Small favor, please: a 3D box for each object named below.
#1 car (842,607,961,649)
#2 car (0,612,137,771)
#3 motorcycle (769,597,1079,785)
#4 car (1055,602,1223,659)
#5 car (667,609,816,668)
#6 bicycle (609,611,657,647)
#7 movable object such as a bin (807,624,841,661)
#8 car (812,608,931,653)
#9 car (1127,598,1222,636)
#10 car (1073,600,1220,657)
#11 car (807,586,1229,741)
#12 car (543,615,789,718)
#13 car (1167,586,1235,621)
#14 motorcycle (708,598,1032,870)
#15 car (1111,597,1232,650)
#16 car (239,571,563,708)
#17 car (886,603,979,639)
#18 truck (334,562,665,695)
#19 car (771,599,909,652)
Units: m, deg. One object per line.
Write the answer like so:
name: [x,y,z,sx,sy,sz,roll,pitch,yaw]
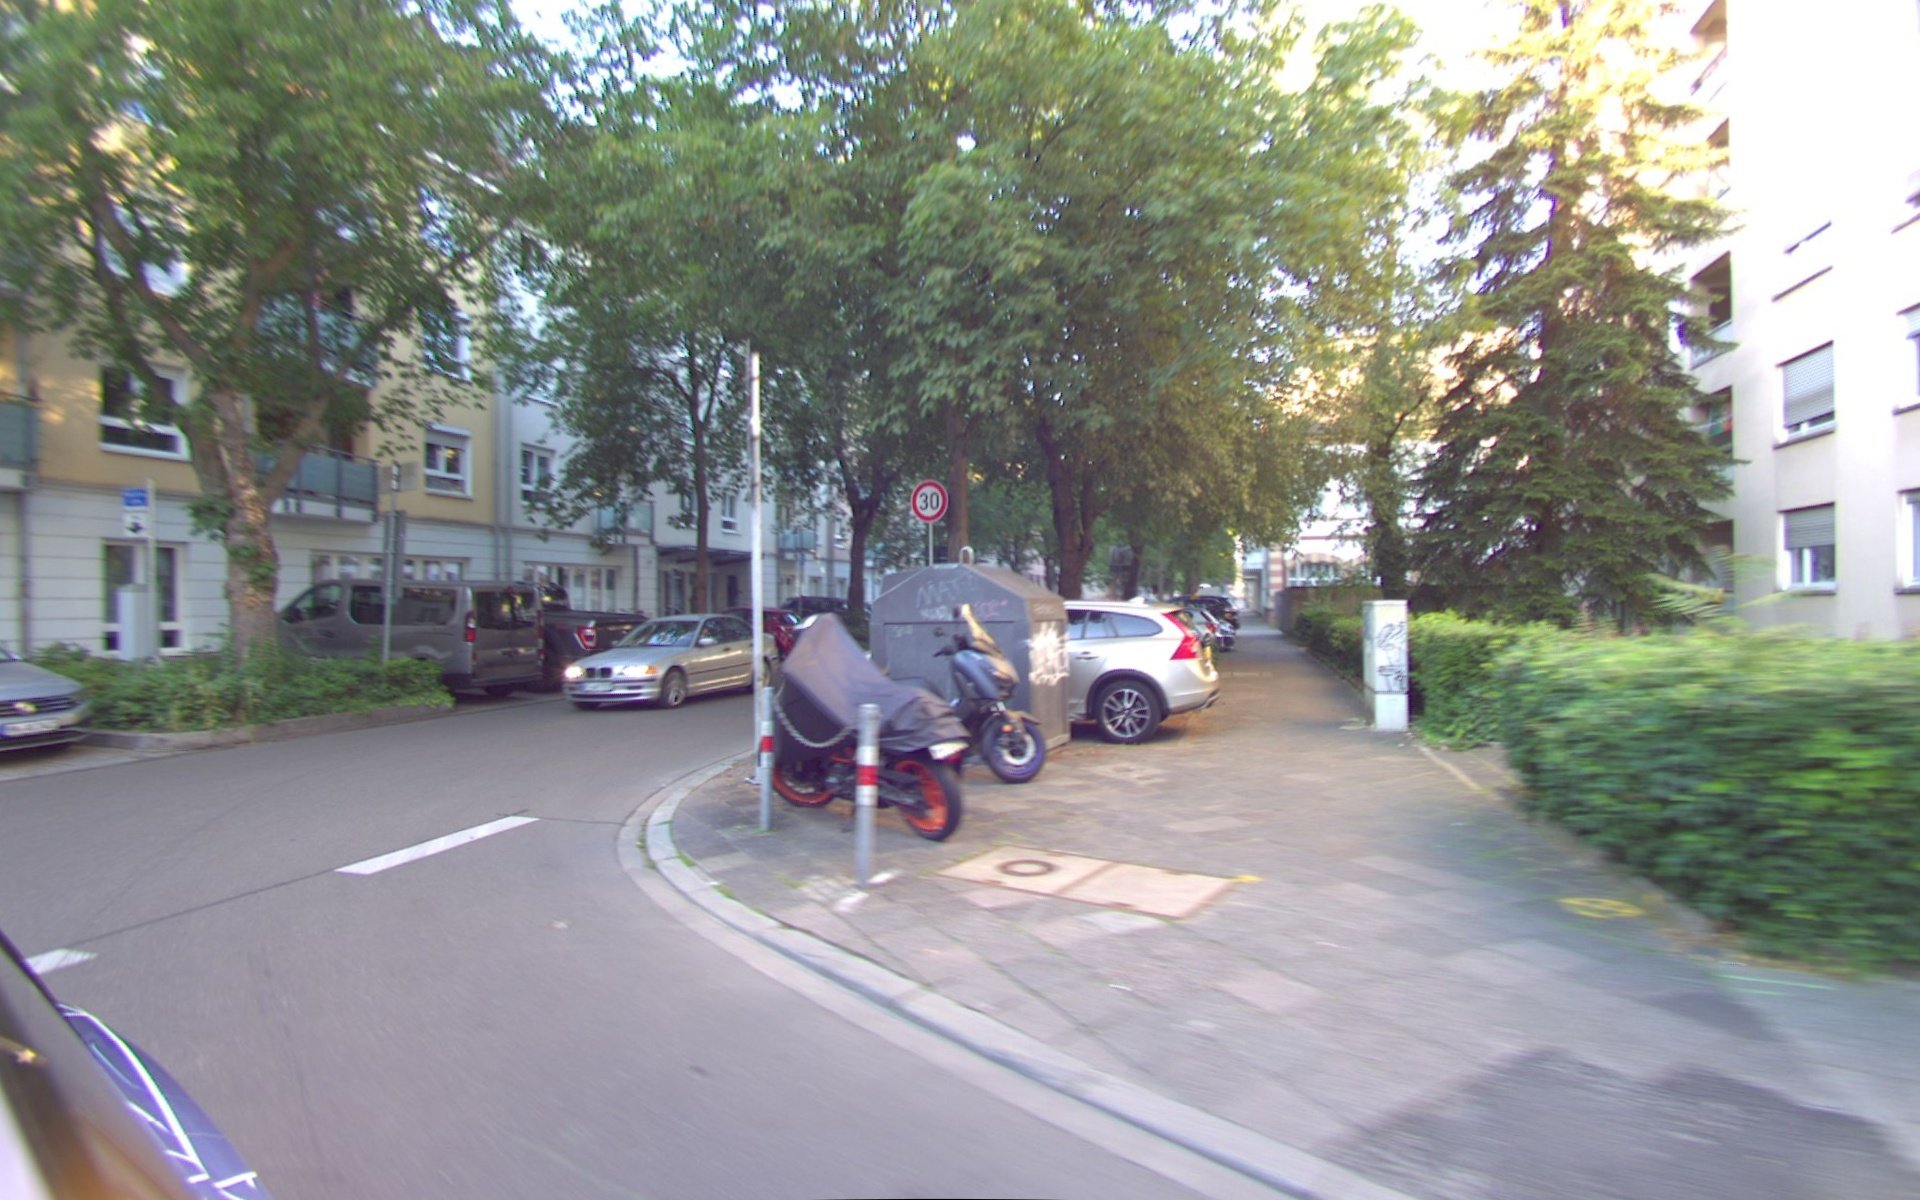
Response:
car: [-2.418,1.138,41.871,4.572,1.479,1.787,2,1,15]
car: [-11.486,0.901,10.745,4.593,1.514,1.952,0,0,15]
motorcycle: [-0.299,0.706,8.500,2.440,1.431,0.905,-1,0,18]
car: [4.816,0.809,27.036,4.263,1.440,1.870,-1,0,16]
car: [-6.219,1.087,28.939,3.753,1.556,1.869,-1,0,15]
bicycle: [-9.952,0.856,30.892,0.421,1.045,1.872,1,0,15]
movable object such as a bin: [-4.160,1.301,30.981,0.756,1.092,0.781,1,0,17]
car: [-3.449,1.143,39.540,4.203,1.449,1.918,3,1,18]
car: [10.548,0.836,49.796,4.477,1.785,1.991,-1,0,15]
car: [5.478,0.833,29.716,3.971,1.577,1.916,-1,0,21]
car: [0.733,0.682,11.914,4.596,1.564,2.063,-1,0,18]
car: [-4.538,0.970,16.370,1.724,1.381,4.307,-1,0,18]
car: [18.431,0.268,77.394,4.974,2.592,2.110,-1,-1,16]
motorcycle: [-0.660,0.716,6.455,0.839,1.431,2.256,-1,0,-43]
car: [8.225,0.906,39.439,4.477,1.970,1.991,-1,0,15]
car: [-9.341,0.620,17.040,4.572,2.082,2.187,0,0,15]
car: [-1.265,0.966,47.803,4.052,1.462,1.928,2,0,11]
truck: [-8.885,0.533,19.585,5.855,2.328,2.200,-1,0,17]
car: [-4.373,0.899,37.129,4.610,1.629,2.002,3,1,12]
